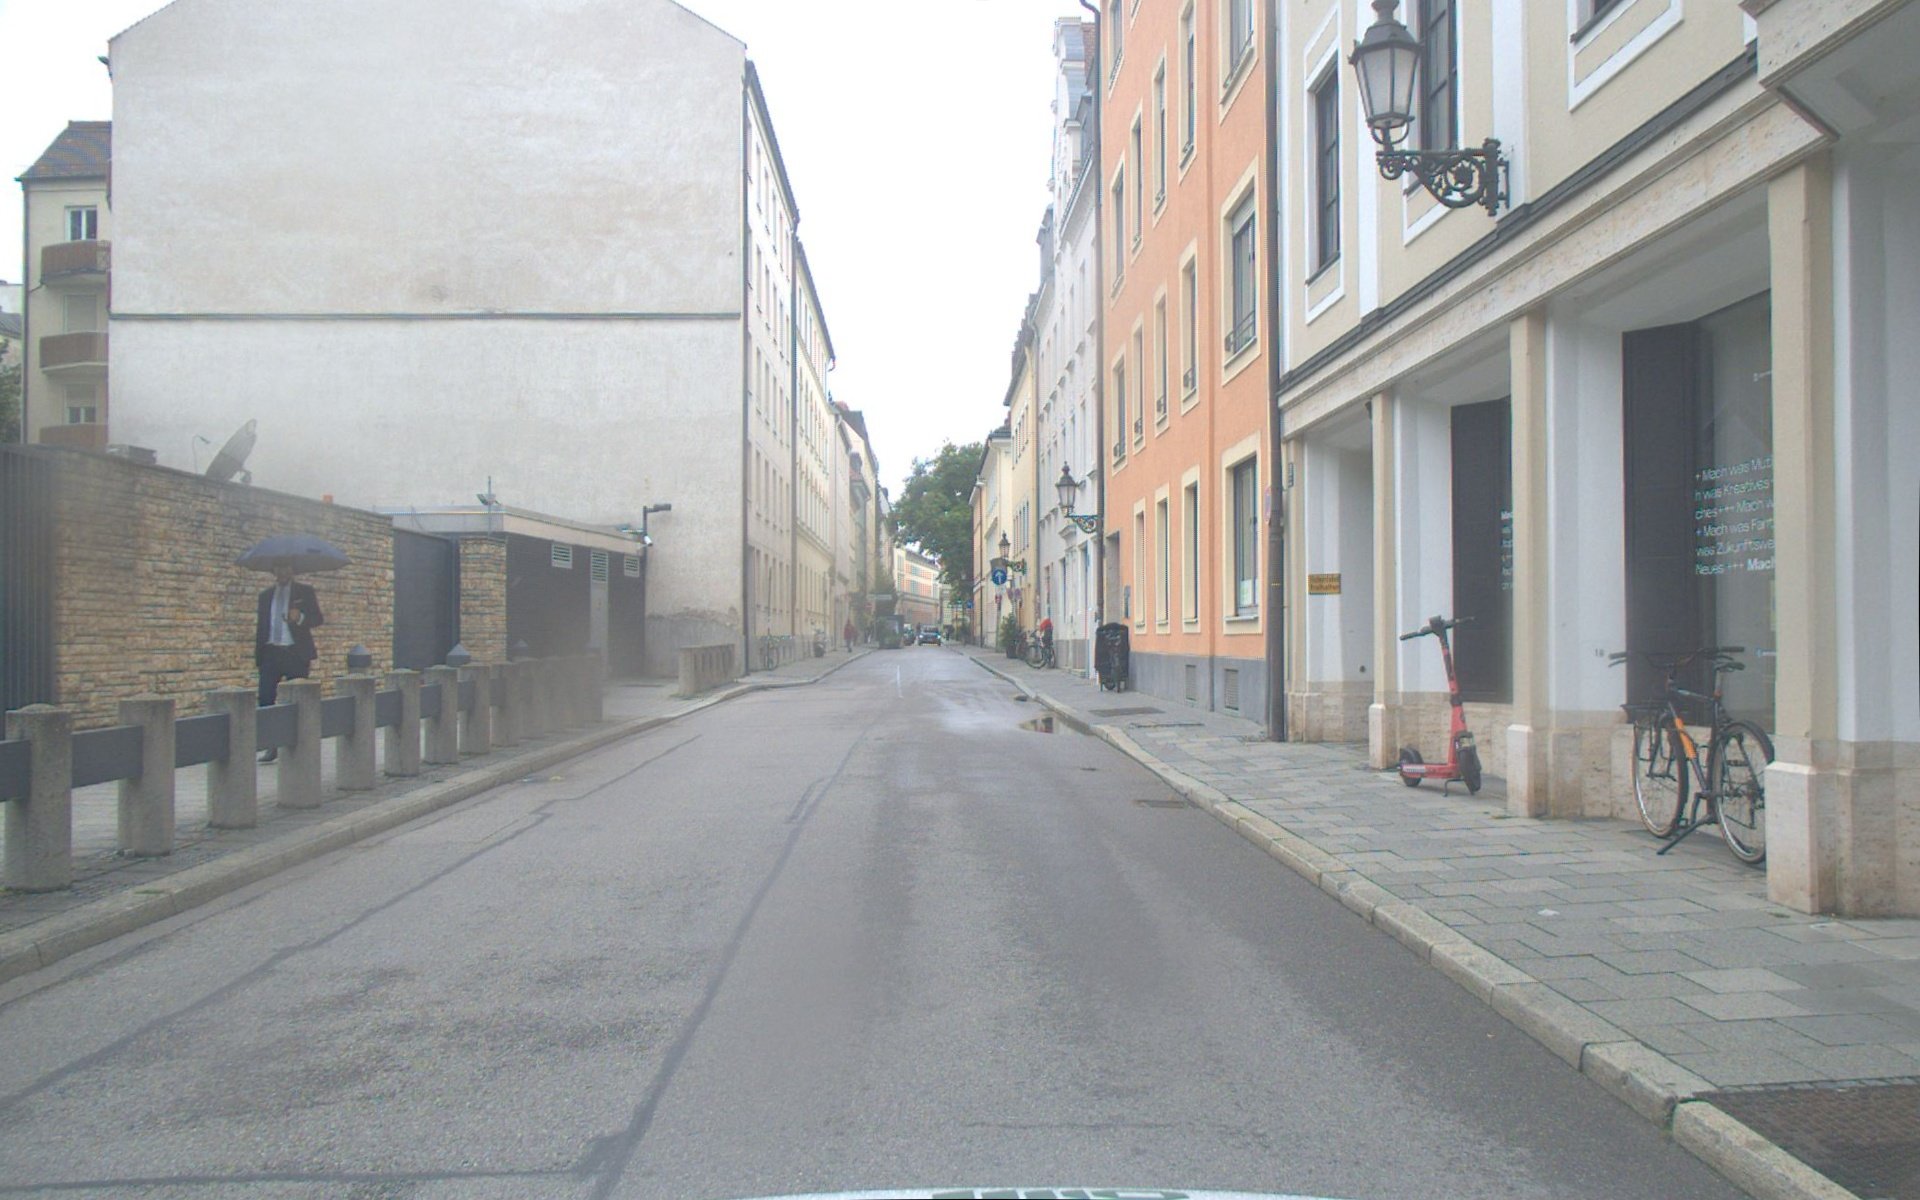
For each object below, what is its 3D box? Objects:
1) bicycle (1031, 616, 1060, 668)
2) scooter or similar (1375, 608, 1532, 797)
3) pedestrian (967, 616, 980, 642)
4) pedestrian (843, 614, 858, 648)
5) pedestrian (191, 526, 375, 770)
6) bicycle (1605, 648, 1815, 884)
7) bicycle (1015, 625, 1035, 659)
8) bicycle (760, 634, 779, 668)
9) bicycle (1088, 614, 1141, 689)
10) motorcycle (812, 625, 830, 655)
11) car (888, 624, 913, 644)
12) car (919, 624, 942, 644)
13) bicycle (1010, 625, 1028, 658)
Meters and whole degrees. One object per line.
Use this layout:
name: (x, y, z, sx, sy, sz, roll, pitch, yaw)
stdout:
bicycle: (2.440, 1.177, 47.304, 0.698, 1.420, 2.122, -3, -1, 1)
scooter or similar: (3.574, 0.711, 12.066, 0.457, 1.280, 1.272, -3, 0, -15)
pedestrian: (0.987, 2.124, 120.941, 0.862, 1.834, 1.046, 1, -1, -1)
pedestrian: (-5.663, 1.626, 85.627, 0.750, 1.738, 0.785, 0, -1, -4)
pedestrian: (-6.161, 0.425, 15.126, 1.198, 2.141, 1.116, 0, 0, 1)
bicycle: (3.938, 0.816, 8.833, 0.454, 1.011, 2.080, -1, 1, 9)
bicycle: (2.292, 1.476, 58.273, 0.554, 1.157, 1.987, -2, -1, 0)
bicycle: (-5.510, 1.469, 47.982, 0.313, 0.960, 1.574, 2, -1, 0)
bicycle: (2.819, 0.927, 30.372, 0.665, 1.261, 2.382, -5, 0, 0)
motorcycle: (-5.561, 1.608, 66.243, 0.590, 1.194, 1.708, 0, -1, -1)
car: (-4.643, 2.677, 130.071, 1.742, 1.492, 3.663, 1, -1, 1)
car: (-2.369, 2.690, 131.255, 1.776, 1.622, 3.998, 0, -1, -2)
bicycle: (2.150, 1.520, 60.338, 0.554, 1.157, 1.683, -2, -1, 0)
